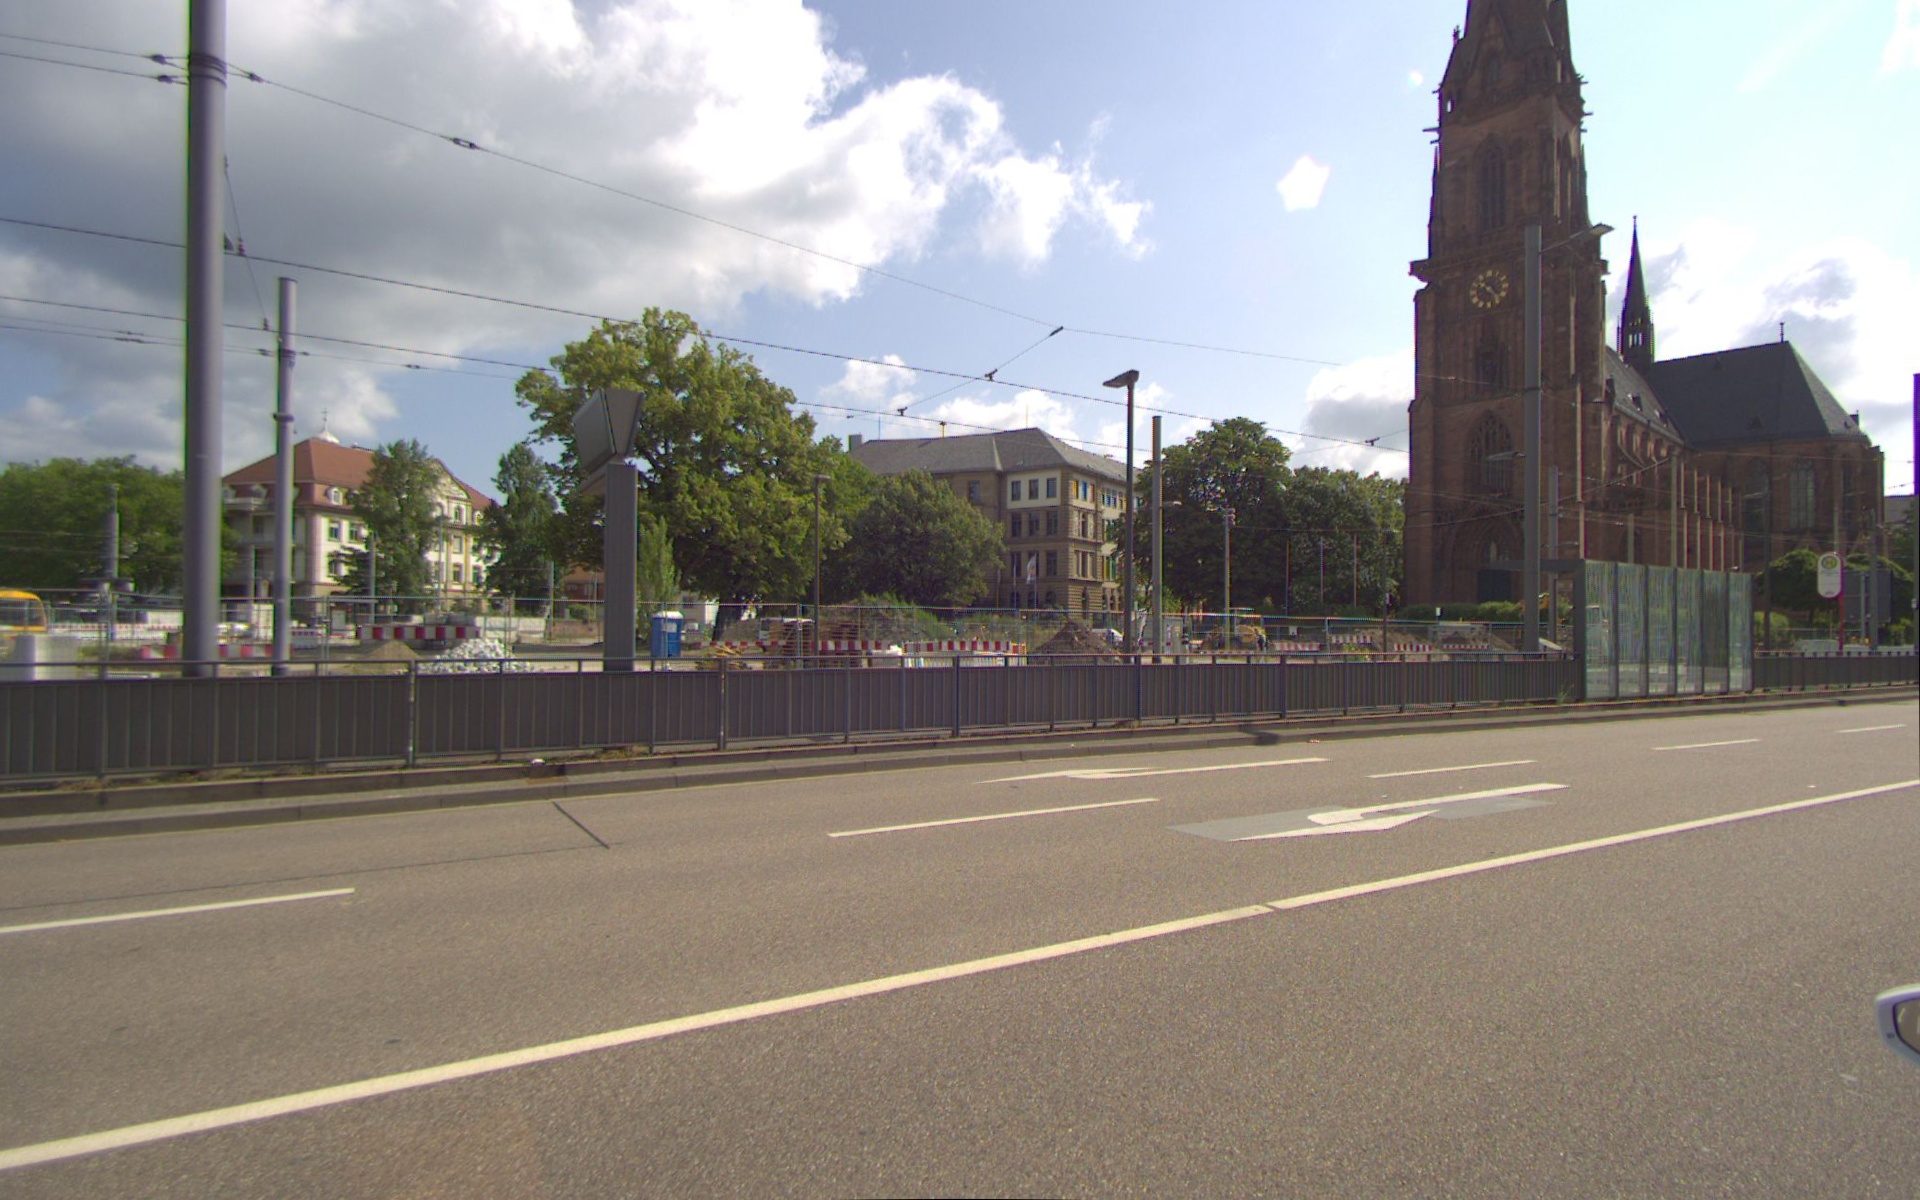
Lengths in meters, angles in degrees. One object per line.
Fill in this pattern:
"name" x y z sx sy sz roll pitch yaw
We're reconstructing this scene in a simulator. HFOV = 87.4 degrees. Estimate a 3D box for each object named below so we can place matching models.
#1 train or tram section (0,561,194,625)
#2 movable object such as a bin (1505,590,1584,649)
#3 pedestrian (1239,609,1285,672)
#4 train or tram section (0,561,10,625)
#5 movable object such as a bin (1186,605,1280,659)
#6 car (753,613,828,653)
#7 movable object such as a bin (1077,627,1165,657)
"train or tram section" -53.106 -0.355 61.152 3.257 3.527 10.613 -1 0 13
"movable object such as a bin" 32.769 1.069 56.328 3.948 3.147 1.986 -1 0 -27
"pedestrian" 10.065 1.347 33.517 1.037 2.040 1.062 1 -2 -27
"train or tram section" -55.474 -0.336 50.877 3.257 3.527 10.613 -1 0 13
"movable object such as a bin" 15.583 1.814 57.626 1.982 2.950 5.100 1 -2 -37
"car" -9.926 1.891 59.111 1.906 2.166 4.638 0 0 28
"movable object such as a bin" 8.550 2.198 53.109 5.120 1.522 1.974 2 -2 -44
